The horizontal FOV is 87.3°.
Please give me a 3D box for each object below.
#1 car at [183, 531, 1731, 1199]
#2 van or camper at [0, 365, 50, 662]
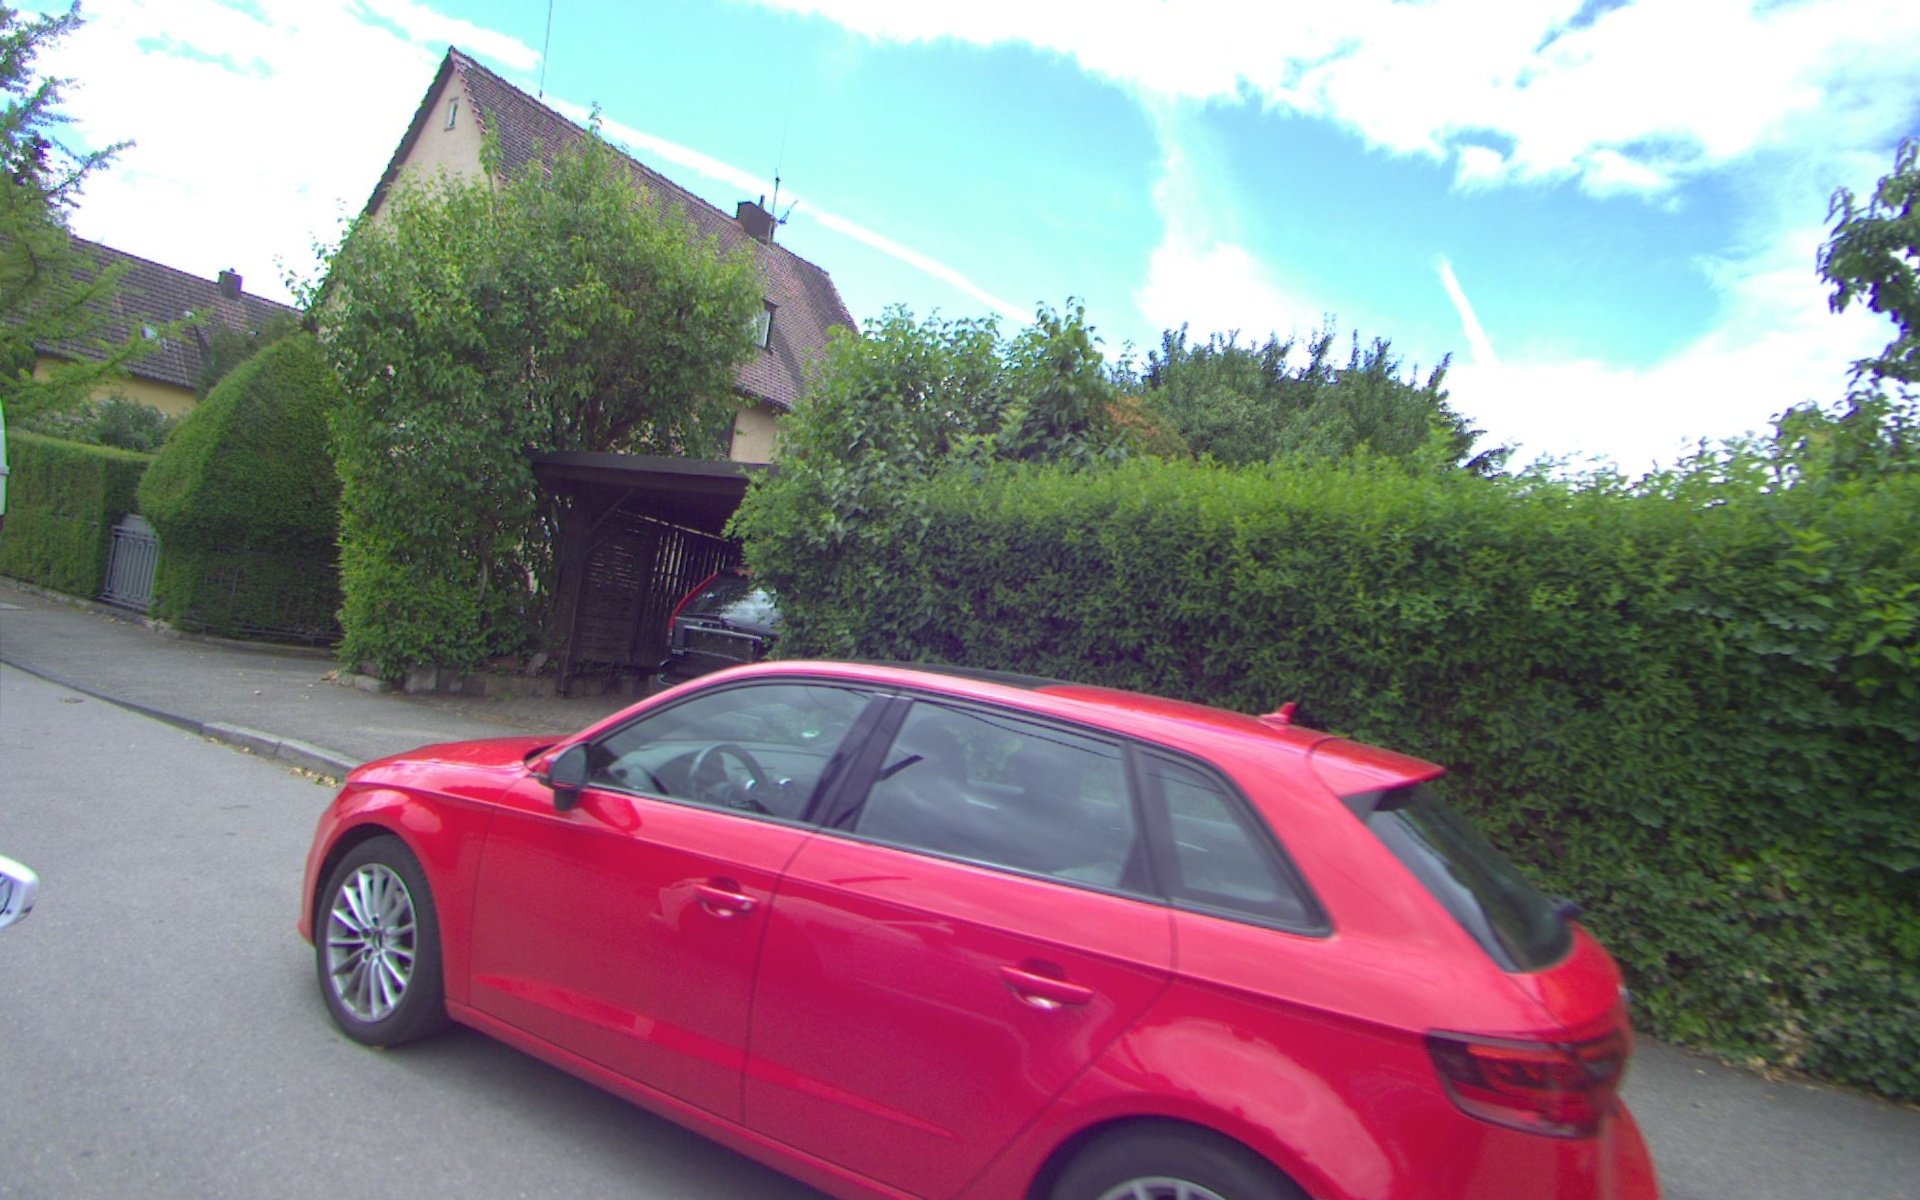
[{"bbox_3d":[-0.372,0.831,3.279,4.194,1.484,1.718,8,-2,28],"label":"car"},{"bbox_3d":[-11.940,-1.222,10.010,6.219,2.704,2.073,7,-3,29],"label":"van or camper"}]
